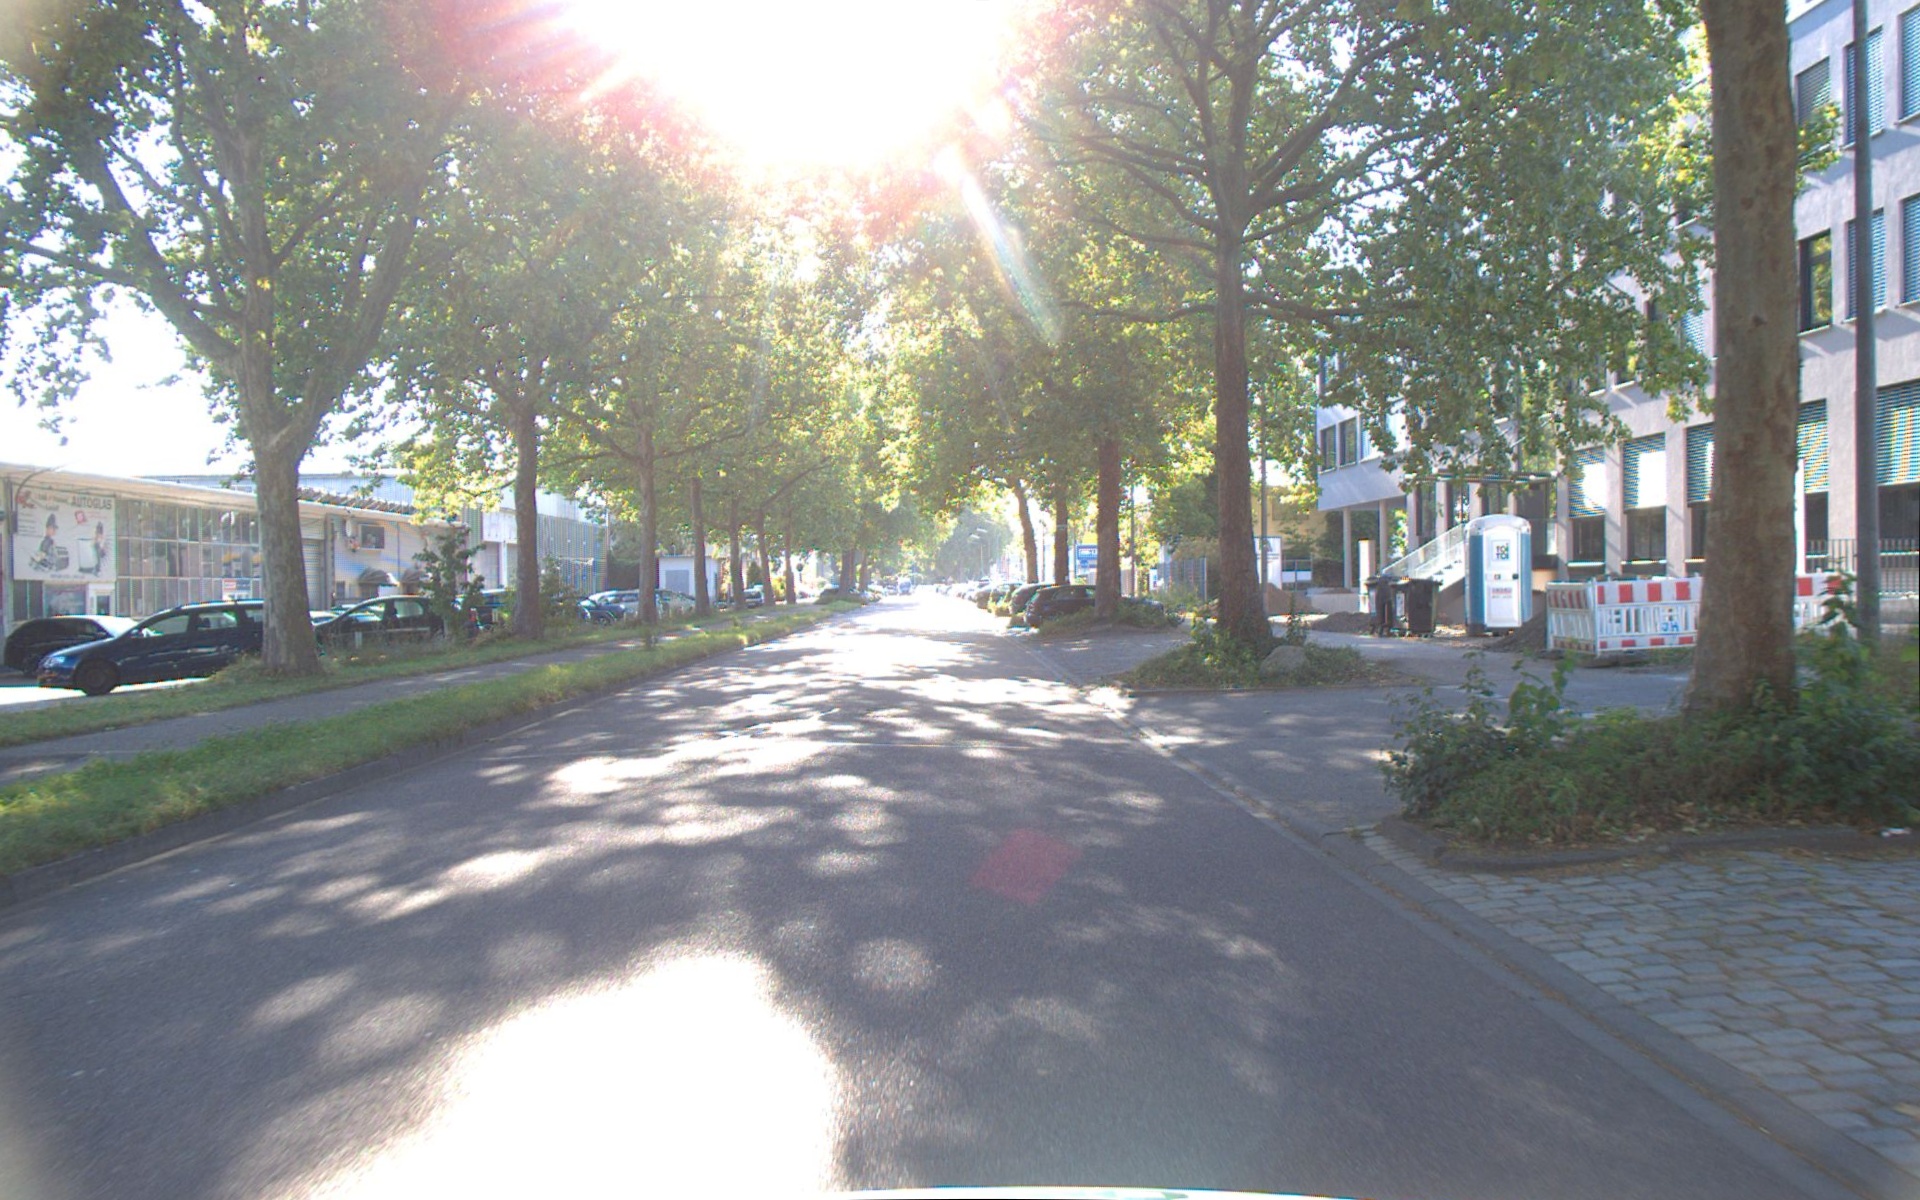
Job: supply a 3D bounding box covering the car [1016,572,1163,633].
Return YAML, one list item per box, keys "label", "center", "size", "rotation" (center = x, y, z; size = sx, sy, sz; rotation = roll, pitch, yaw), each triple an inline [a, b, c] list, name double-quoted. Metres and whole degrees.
- label: "car"
  center: [3.943, 0.082, 50.812]
  size: [4.199, 1.511, 1.860]
  rotation: [-4, 0, -3]

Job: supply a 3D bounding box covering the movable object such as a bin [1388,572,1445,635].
- label: "movable object such as a bin"
  center: [9.623, 0.072, 34.896]
  size: [0.732, 1.285, 1.611]
  rotation: [1, 0, -1]

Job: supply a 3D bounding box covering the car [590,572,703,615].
- label: "car"
  center: [-12.714, -0.246, 67.295]
  size: [1.964, 1.658, 4.238]
  rotation: [1, 0, 41]

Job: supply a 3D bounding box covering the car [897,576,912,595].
- label: "car"
  center: [-8.107, -2.149, 243.170]
  size: [2.084, 2.706, 7.000]
  rotation: [-1, 1, -1]

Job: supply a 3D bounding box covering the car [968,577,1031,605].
- label: "car"
  center: [2.921, -0.660, 123.166]
  size: [4.533, 1.741, 1.999]
  rotation: [-4, 0, -3]

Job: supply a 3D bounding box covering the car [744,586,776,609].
- label: "car"
  center: [-13.720, -0.185, 113.473]
  size: [1.956, 1.393, 3.916]
  rotation: [-5, 0, -6]

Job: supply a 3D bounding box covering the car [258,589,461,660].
- label: "car"
  center: [-13.939, 0.578, 38.387]
  size: [4.281, 1.557, 1.984]
  rotation: [1, 0, -25]

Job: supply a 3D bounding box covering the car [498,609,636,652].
- label: "car"
  center: [-13.463, 1.053, 56.768]
  size: [4.221, 1.406, 1.972]
  rotation: [1, 0, -40]

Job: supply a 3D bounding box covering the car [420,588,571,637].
- label: "car"
  center: [-14.831, 0.401, 52.868]
  size: [4.221, 1.477, 1.972]
  rotation: [1, 0, -40]

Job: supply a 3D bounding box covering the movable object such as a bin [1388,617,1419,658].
- label: "movable object such as a bin"
  center: [9.816, 0.823, 36.597]
  size: [0.482, 0.891, 0.634]
  rotation: [1, 0, -2]

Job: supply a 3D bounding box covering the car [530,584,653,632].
- label: "car"
  center: [-14.014, 0.314, 63.002]
  size: [1.965, 1.729, 4.237]
  rotation: [1, 0, 42]

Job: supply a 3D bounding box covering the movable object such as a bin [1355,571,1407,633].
- label: "movable object such as a bin"
  center: [9.596, 0.039, 37.743]
  size: [0.732, 1.374, 1.620]
  rotation: [1, 0, -1]

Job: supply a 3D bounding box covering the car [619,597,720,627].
- label: "car"
  center: [-13.867, 0.545, 79.095]
  size: [4.448, 1.328, 1.969]
  rotation: [-1, 1, -43]

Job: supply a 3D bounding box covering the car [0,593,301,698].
- label: "car"
  center: [-14.585, 0.811, 29.944]
  size: [4.821, 1.790, 1.984]
  rotation: [1, 0, -25]

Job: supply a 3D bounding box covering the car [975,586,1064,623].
- label: "car"
  center: [3.168, 0.234, 88.452]
  size: [4.481, 1.745, 1.941]
  rotation: [-3, 0, -5]

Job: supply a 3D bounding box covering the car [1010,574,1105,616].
- label: "car"
  center: [4.032, -0.201, 68.902]
  size: [3.710, 1.512, 1.860]
  rotation: [-4, 0, -3]

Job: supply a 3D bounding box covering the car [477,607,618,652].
- label: "car"
  center: [-14.011, 0.999, 56.240]
  size: [4.221, 1.477, 1.972]
  rotation: [1, 0, -40]
